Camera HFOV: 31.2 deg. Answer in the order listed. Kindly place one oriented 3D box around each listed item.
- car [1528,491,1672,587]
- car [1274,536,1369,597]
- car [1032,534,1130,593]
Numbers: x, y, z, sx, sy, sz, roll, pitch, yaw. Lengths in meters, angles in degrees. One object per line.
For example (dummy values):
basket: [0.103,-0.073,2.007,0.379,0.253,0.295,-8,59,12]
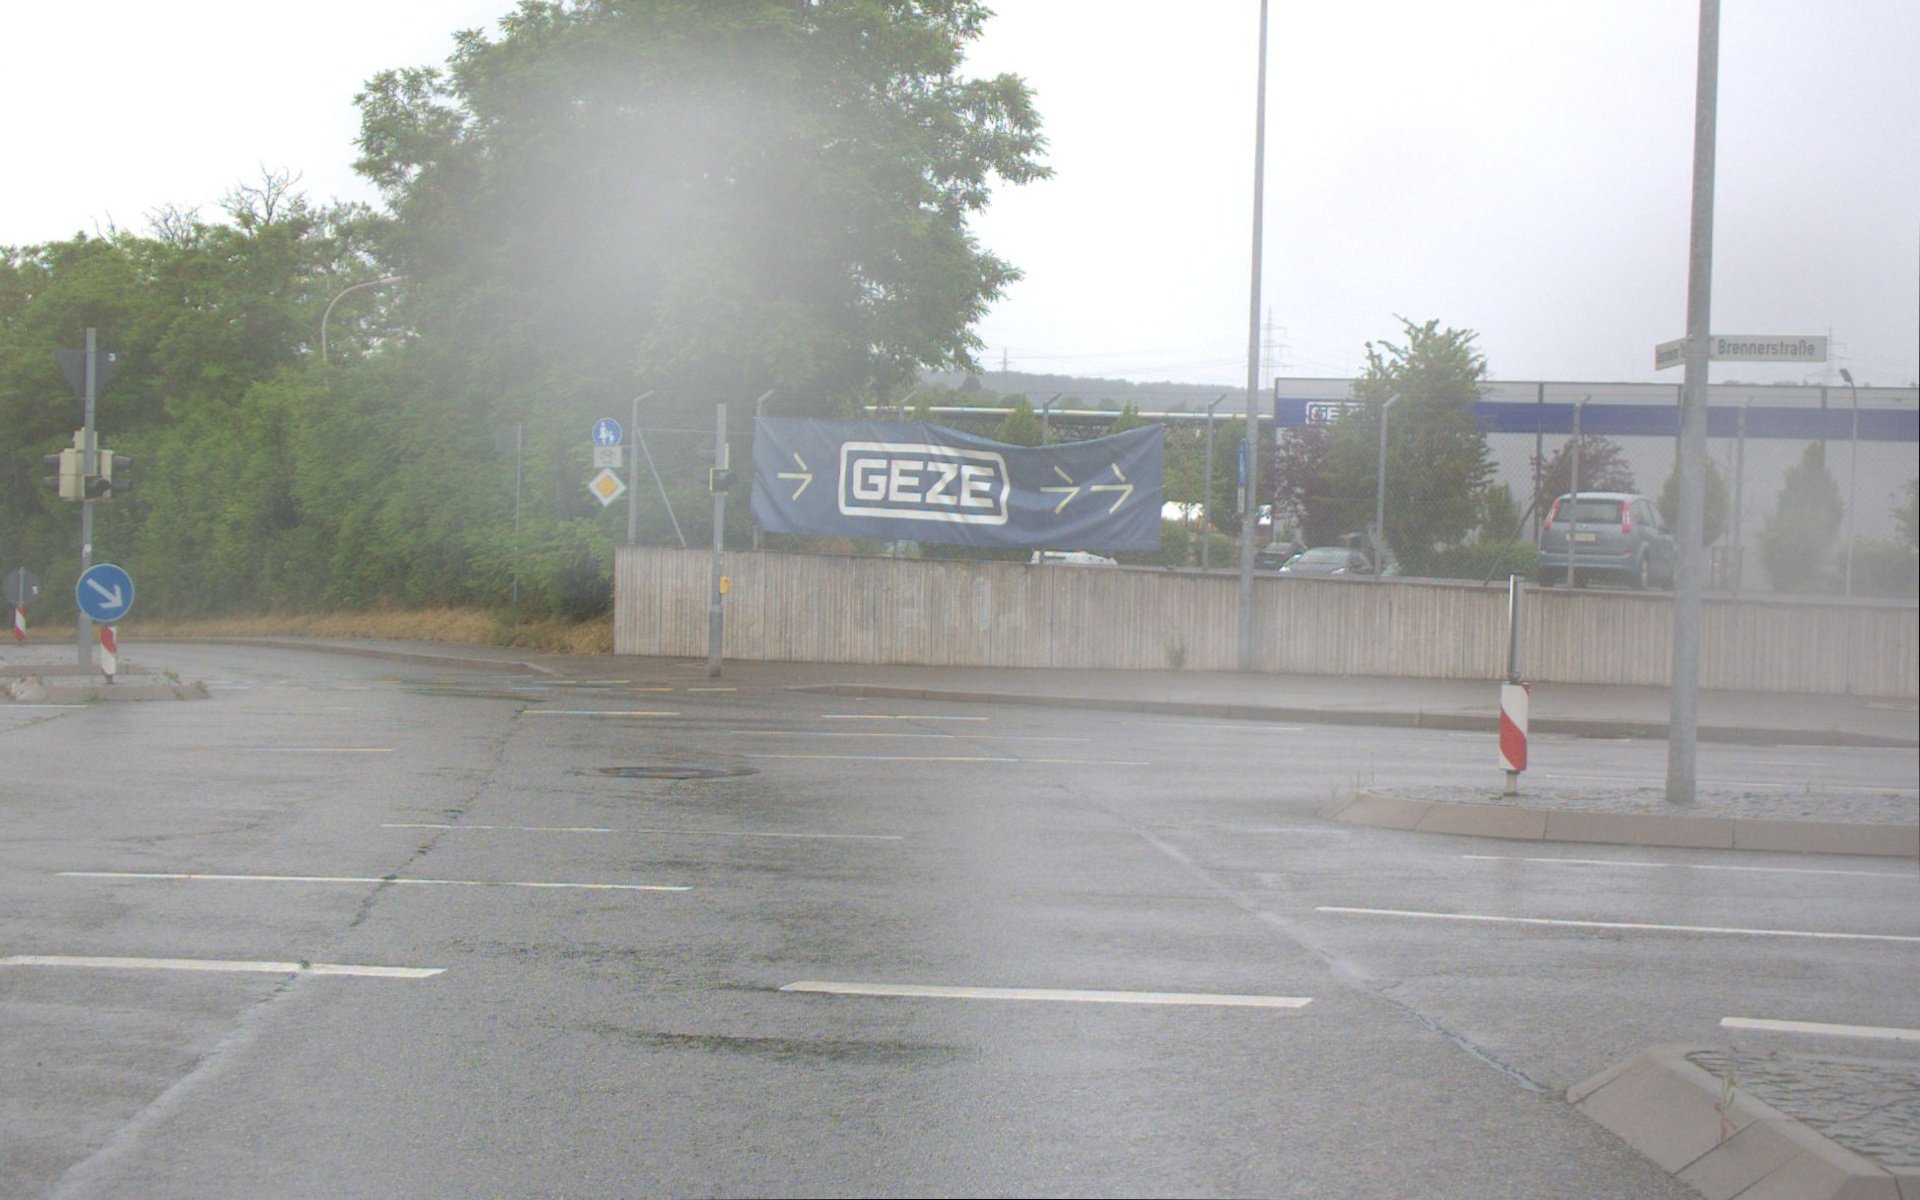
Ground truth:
car: [10.715,-1.005,57.437,1.744,1.548,3.527,1,1,21]
car: [9.755,-0.903,92.602,1.668,1.601,3.527,1,1,21]
car: [3.400,-1.023,95.904,1.668,1.601,3.527,1,1,21]
